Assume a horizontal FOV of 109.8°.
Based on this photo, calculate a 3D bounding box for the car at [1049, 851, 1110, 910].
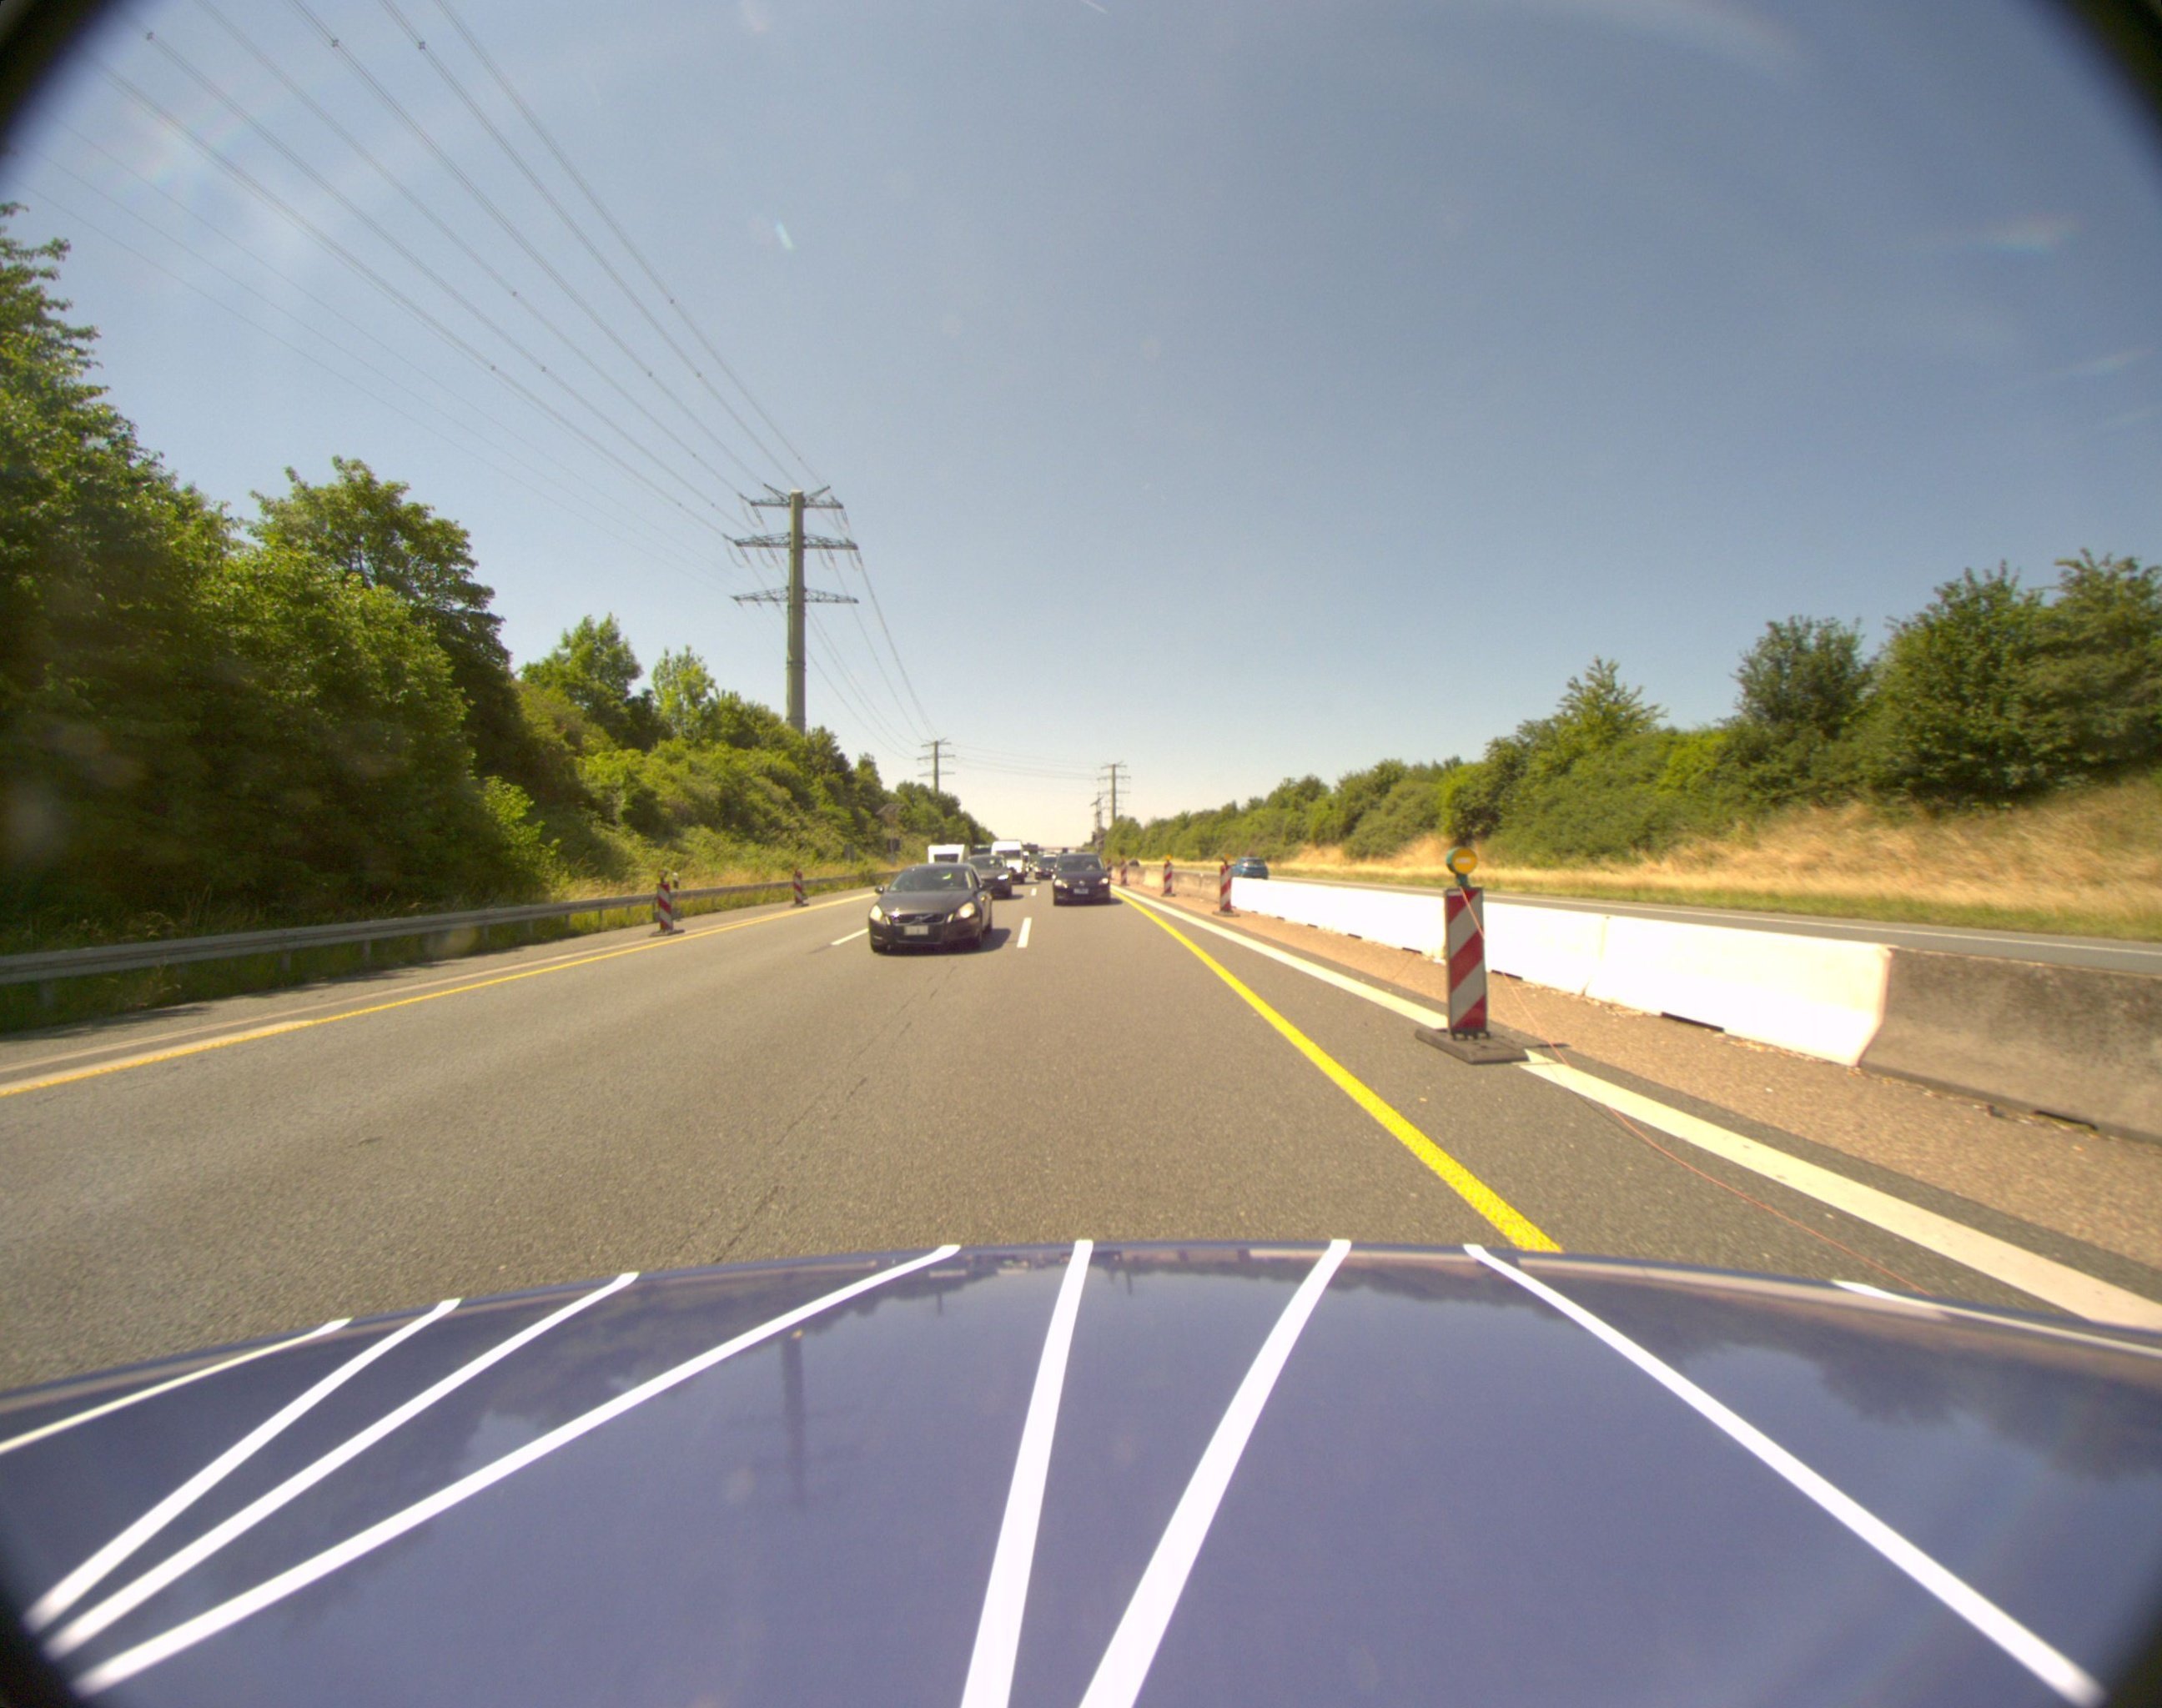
[{"bbox_3d":[-0.030,0.766,24.509,1.675,1.619,4.690,-4,0,0],"label":"car"}]

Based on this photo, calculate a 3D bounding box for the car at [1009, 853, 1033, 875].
[{"bbox_3d":[-4.824,0.781,61.255,1.745,1.658,4.156,-1,0,-3],"label":"car"}]

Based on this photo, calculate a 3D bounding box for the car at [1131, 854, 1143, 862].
[{"bbox_3d":[10.056,0.725,136.475,1.771,1.346,3.513,0,0,-1],"label":"car"}]

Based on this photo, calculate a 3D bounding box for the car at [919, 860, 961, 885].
[{"bbox_3d":[-8.371,1.055,45.327,1.801,1.399,4.209,0,0,-2],"label":"car"}]

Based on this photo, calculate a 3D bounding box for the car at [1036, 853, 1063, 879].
[{"bbox_3d":[-2.141,0.757,51.352,1.745,1.658,4.156,-1,0,-3],"label":"car"}]

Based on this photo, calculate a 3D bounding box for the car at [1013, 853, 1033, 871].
[{"bbox_3d":[-5.537,0.712,73.164,1.745,1.658,4.156,-1,0,-3],"label":"car"}]

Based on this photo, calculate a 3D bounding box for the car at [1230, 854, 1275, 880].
[{"bbox_3d":[10.914,0.802,48.482,1.895,1.508,3.479,-1,0,-4],"label":"car"}]

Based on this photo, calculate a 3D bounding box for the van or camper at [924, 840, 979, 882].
[{"bbox_3d":[-8.663,0.417,51.668,2.432,2.549,8.415,-2,0,-2],"label":"van or camper"}]

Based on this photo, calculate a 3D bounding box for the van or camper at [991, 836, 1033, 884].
[{"bbox_3d":[-3.952,0.319,44.527,1.999,2.604,5.628,0,0,-1],"label":"van or camper"}]

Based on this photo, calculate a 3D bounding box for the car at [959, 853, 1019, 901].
[{"bbox_3d":[-3.430,0.824,29.024,1.745,1.658,4.157,-1,0,0],"label":"car"}]

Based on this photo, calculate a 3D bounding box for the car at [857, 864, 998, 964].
[{"bbox_3d":[-2.612,0.957,13.825,1.799,1.433,3.999,-2,0,-1],"label":"car"}]

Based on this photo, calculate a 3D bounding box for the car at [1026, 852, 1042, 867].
[{"bbox_3d":[-5.438,0.616,87.505,1.745,1.658,4.156,-1,0,-3],"label":"car"}]

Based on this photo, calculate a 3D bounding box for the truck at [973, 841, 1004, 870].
[{"bbox_3d":[-10.688,0.144,88.508,2.431,3.122,7.647,-4,0,0],"label":"truck"}]
